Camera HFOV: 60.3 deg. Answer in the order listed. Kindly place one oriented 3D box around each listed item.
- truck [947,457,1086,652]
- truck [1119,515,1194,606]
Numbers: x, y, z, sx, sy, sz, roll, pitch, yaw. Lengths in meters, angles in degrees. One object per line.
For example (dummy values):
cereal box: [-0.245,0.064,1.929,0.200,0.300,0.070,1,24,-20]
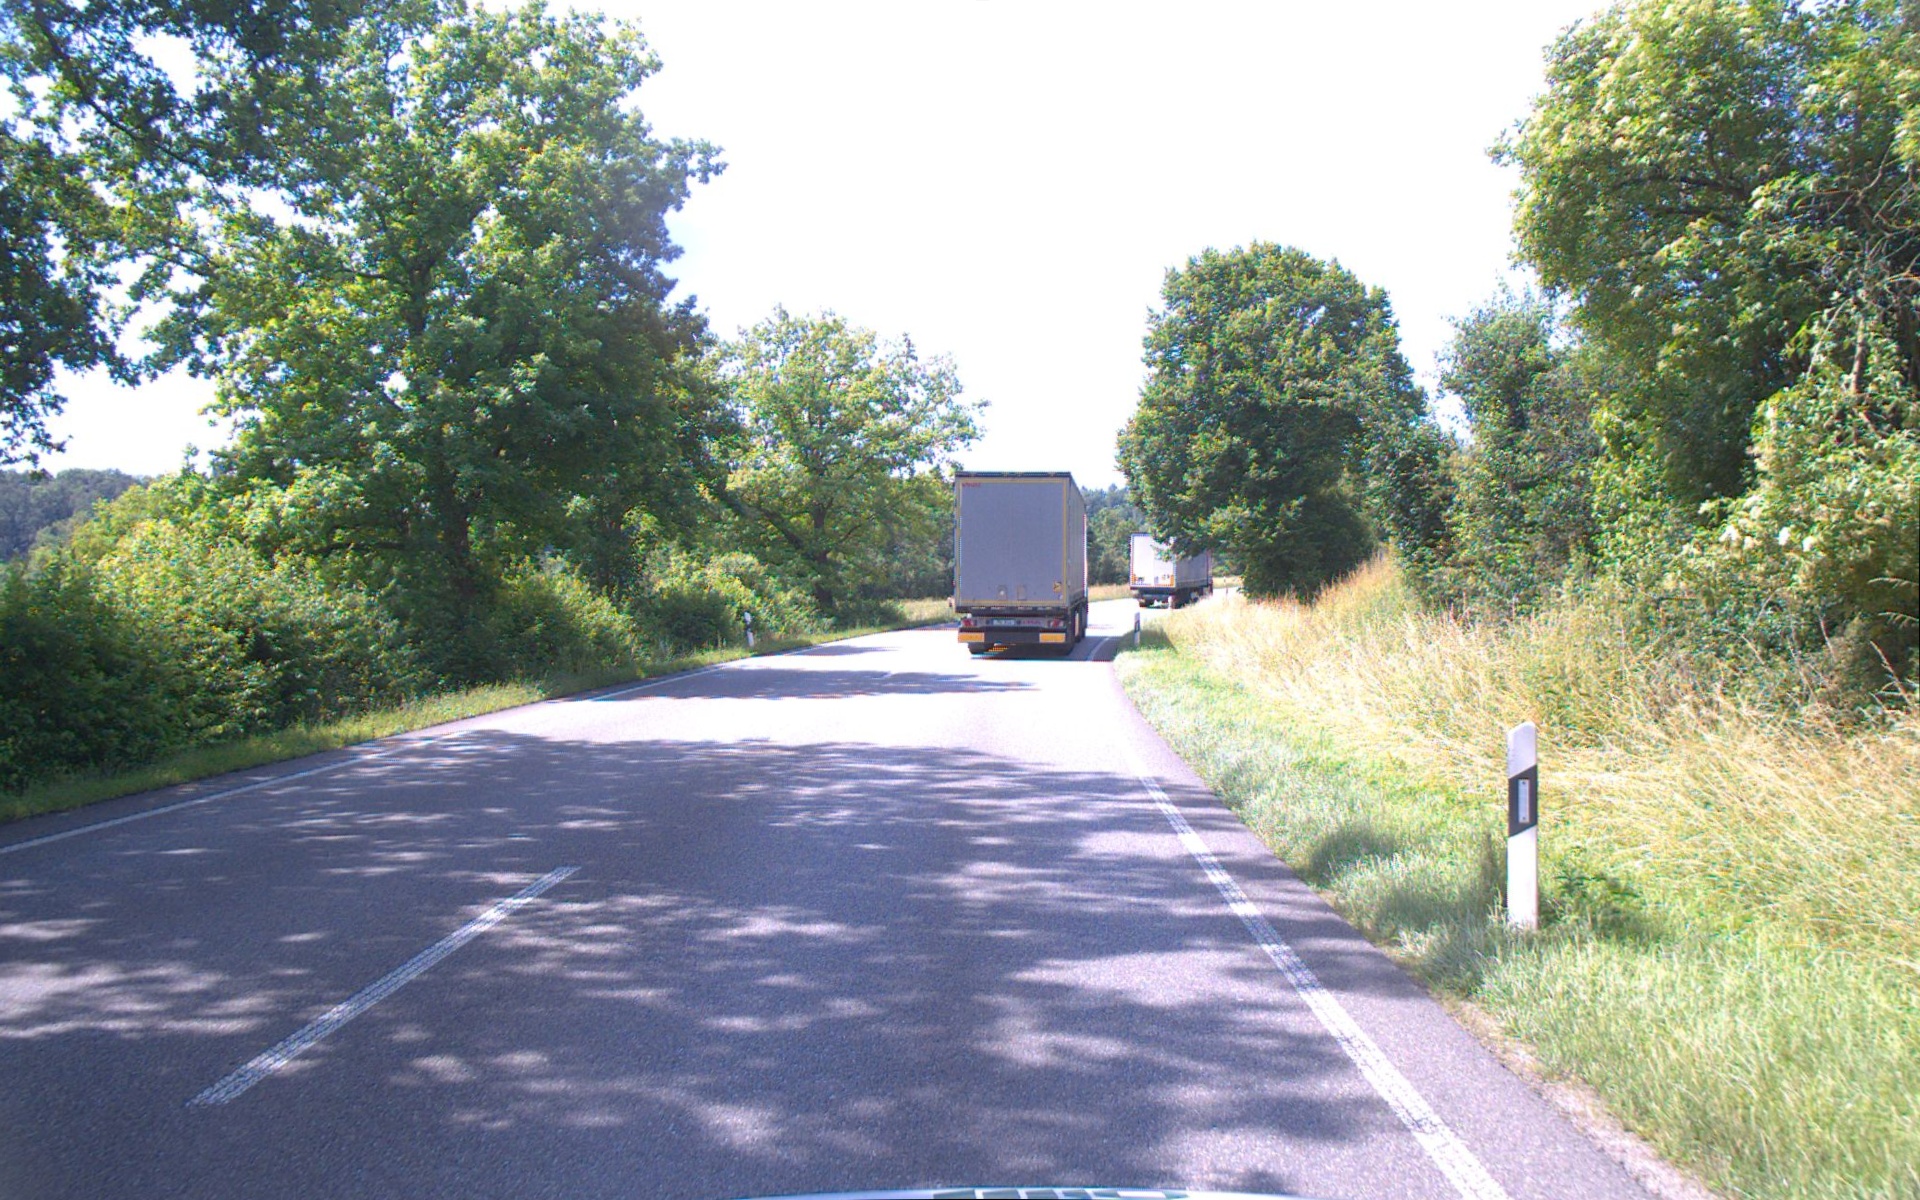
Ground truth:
truck: [1.778,-1.093,42.883,2.742,4.139,15.336,0,1,5]
truck: [11.620,-2.260,96.295,3.038,4.787,16.605,-1,1,11]
